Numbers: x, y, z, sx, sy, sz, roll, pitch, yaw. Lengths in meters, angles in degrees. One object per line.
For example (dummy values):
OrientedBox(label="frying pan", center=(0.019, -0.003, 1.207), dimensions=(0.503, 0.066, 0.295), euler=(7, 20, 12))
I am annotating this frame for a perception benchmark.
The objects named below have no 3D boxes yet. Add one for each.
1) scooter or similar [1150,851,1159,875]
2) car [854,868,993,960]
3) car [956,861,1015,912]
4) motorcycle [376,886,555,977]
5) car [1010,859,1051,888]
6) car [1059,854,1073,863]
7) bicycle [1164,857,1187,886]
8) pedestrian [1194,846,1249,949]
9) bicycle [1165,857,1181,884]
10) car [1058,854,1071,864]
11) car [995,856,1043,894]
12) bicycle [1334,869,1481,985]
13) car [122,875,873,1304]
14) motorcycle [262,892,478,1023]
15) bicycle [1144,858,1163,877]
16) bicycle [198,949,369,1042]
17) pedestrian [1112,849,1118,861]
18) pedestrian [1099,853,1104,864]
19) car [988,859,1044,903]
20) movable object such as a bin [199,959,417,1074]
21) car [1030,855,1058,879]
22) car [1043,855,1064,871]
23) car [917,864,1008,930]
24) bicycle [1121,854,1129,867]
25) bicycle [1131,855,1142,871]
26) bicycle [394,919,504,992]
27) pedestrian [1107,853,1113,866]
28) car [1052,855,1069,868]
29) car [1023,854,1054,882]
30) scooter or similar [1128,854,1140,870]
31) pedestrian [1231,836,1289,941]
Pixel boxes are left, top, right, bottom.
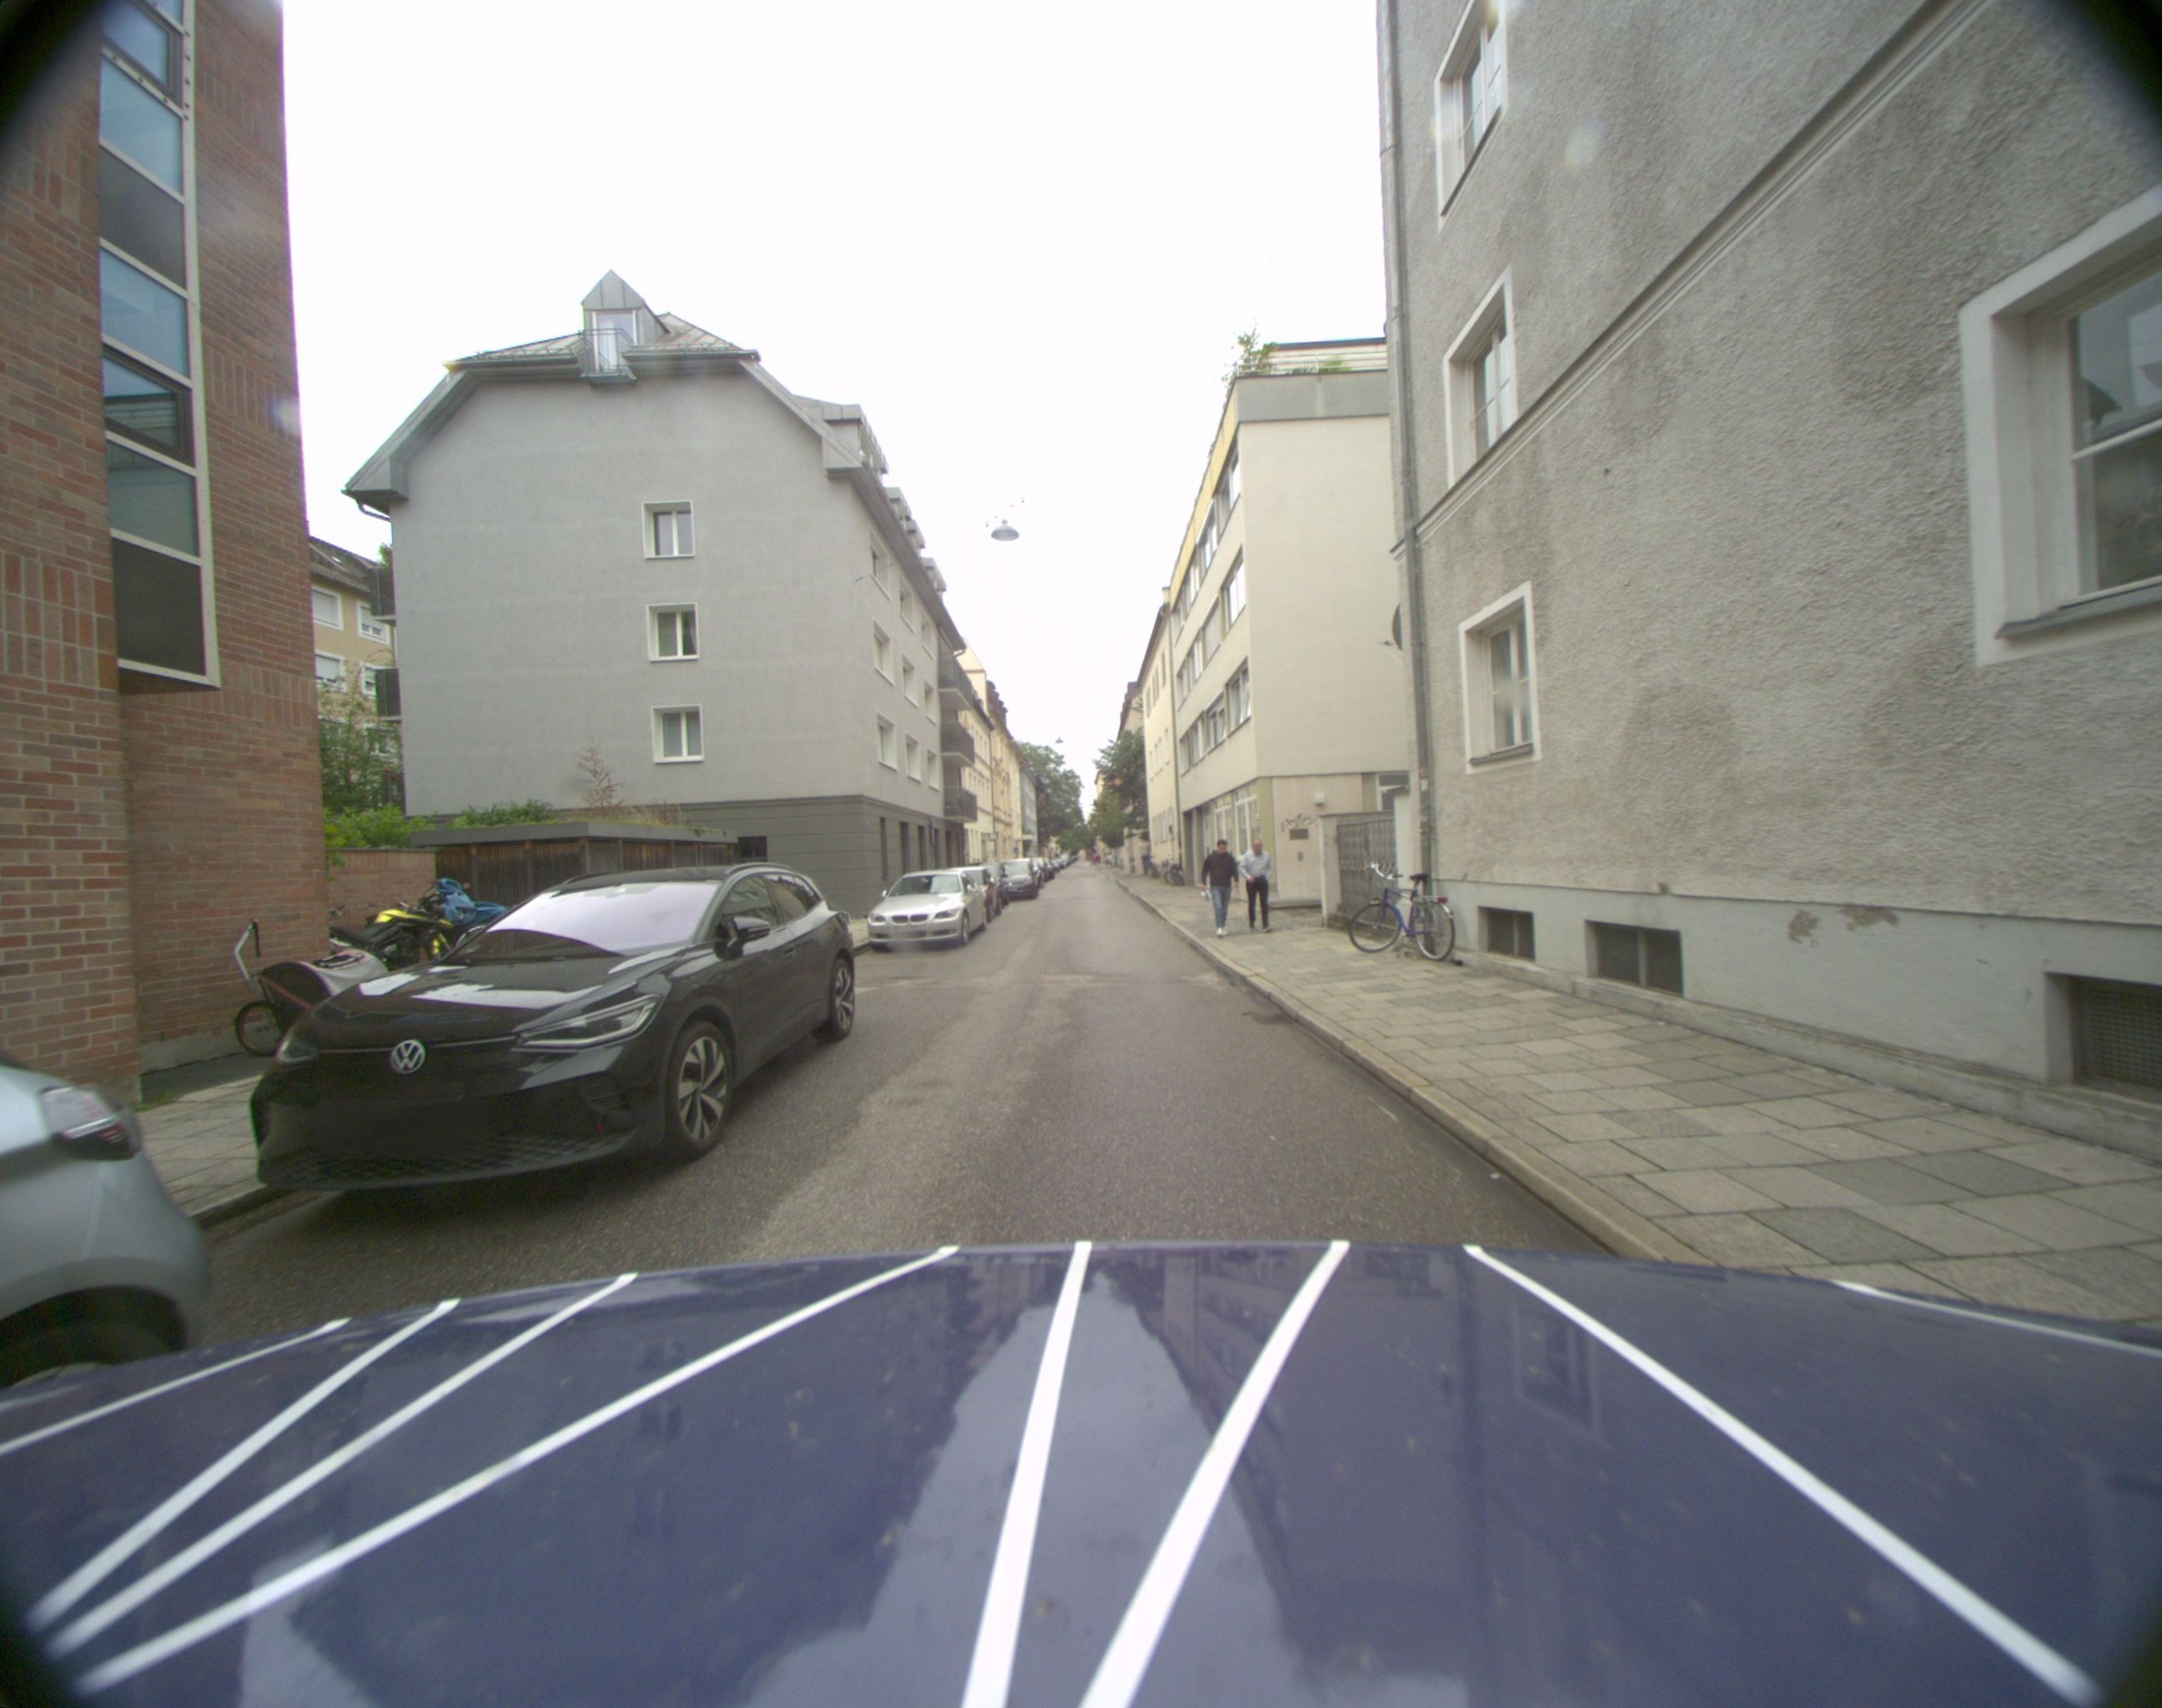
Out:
OrientedBox(label="scooter or similar", center=(4.245, 0.529, 43.896), dimensions=(0.318, 1.368, 1.239), euler=(-2, 1, 0))
OrientedBox(label="car", center=(-2.985, 1.082, 15.449), dimensions=(1.841, 1.409, 4.600), euler=(-3, 0, -1))
OrientedBox(label="car", center=(-3.142, 1.043, 25.504), dimensions=(1.525, 1.502, 3.202), euler=(-3, 0, -1))
OrientedBox(label="motorcycle", center=(-9.883, 1.238, 12.228), dimensions=(2.520, 1.335, 0.551), euler=(-2, 1, 6))
OrientedBox(label="car", center=(-2.638, 1.017, 40.309), dimensions=(1.812, 1.355, 3.945), euler=(-2, 0, 1))
OrientedBox(label="car", center=(-2.367, 0.782, 123.550), dimensions=(1.998, 1.306, 4.593), euler=(-2, 0, 1))
OrientedBox(label="bicycle", center=(4.008, 0.745, 32.310), dimensions=(0.563, 1.153, 1.720), euler=(-3, 1, -5))
OrientedBox(label="pedestrian", center=(2.529, 0.755, 13.734), dimensions=(0.720, 1.755, 0.838), euler=(-4, 1, 1))
OrientedBox(label="bicycle", center=(4.098, 0.724, 34.025), dimensions=(0.459, 1.153, 1.605), euler=(-5, 1, 1))
OrientedBox(label="car", center=(-2.557, 0.823, 118.187), dimensions=(1.860, 1.366, 4.509), euler=(-5, 0, -1))
OrientedBox(label="car", center=(-2.799, 0.916, 35.099), dimensions=(1.880, 1.561, 4.315), euler=(-1, 0, -1))
OrientedBox(label="bicycle", center=(3.851, 0.807, 9.106), dimensions=(0.644, 1.210, 1.662), euler=(-2, 1, -18))
OrientedBox(label="car", center=(-3.005, 1.033, 5.351), dimensions=(1.890, 1.546, 4.390), euler=(-3, 0, -2))
OrientedBox(label="motorcycle", center=(-8.708, 1.209, 9.444), dimensions=(0.541, 1.337, 1.942), euler=(-2, 1, 12))
OrientedBox(label="bicycle", center=(4.011, 0.740, 42.169), dimensions=(0.705, 0.978, 1.822), euler=(-7, 1, -4))
OrientedBox(label="bicycle", center=(-8.311, 1.466, 7.939), dimensions=(1.319, 0.854, 0.413), euler=(-2, 1, 1))
OrientedBox(label="pedestrian", center=(4.471, 0.115, 99.809), dimensions=(0.615, 1.612, 0.687), euler=(-5, 1, 1))
OrientedBox(label="pedestrian", center=(3.352, 0.711, 124.737), dimensions=(0.766, 1.742, 0.970), euler=(-2, 1, 0))
OrientedBox(label="car", center=(-2.523, 1.010, 30.402), dimensions=(1.844, 1.520, 4.292), euler=(-3, 0, -1))
OrientedBox(label="movable object such as a bin", center=(-7.002, 1.455, 6.944), dimensions=(1.089, 0.827, 0.844), euler=(-3, 0, 2))
OrientedBox(label="car", center=(-2.662, 0.892, 55.641), dimensions=(1.706, 1.597, 4.684), euler=(-3, 0, 0))
OrientedBox(label="car", center=(-2.713, 0.918, 76.469), dimensions=(1.830, 1.327, 4.508), euler=(-6, 0, 0))
OrientedBox(label="car", center=(-3.075, 1.066, 20.463), dimensions=(1.750, 1.453, 4.149), euler=(-3, 0, -1))
OrientedBox(label="bicycle", center=(4.056, 0.617, 70.876), dimensions=(0.539, 1.132, 1.917), euler=(-4, 0, 0))
OrientedBox(label="bicycle", center=(4.177, 0.642, 57.233), dimensions=(0.545, 1.154, 1.882), euler=(-4, 0, -1))
OrientedBox(label="bicycle", center=(-9.060, 1.429, 10.947), dimensions=(0.375, 0.854, 1.320), euler=(-2, 1, 4))
OrientedBox(label="pedestrian", center=(3.809, 0.732, 99.843), dimensions=(0.624, 1.570, 0.714), euler=(-4, 1, 0))
OrientedBox(label="car", center=(-2.543, 0.896, 93.857), dimensions=(1.846, 1.420, 4.263), euler=(-6, 0, -2))
OrientedBox(label="car", center=(-2.756, 0.864, 49.792), dimensions=(1.680, 1.651, 4.512), euler=(-3, 0, 0))
OrientedBox(label="scooter or similar", center=(4.144, 0.637, 59.299), dimensions=(0.553, 1.137, 1.359), euler=(-5, 1, 17))
OrientedBox(label="pedestrian", center=(3.222, 0.607, 13.759), dimensions=(0.720, 1.786, 0.917), euler=(-4, 1, 1))
